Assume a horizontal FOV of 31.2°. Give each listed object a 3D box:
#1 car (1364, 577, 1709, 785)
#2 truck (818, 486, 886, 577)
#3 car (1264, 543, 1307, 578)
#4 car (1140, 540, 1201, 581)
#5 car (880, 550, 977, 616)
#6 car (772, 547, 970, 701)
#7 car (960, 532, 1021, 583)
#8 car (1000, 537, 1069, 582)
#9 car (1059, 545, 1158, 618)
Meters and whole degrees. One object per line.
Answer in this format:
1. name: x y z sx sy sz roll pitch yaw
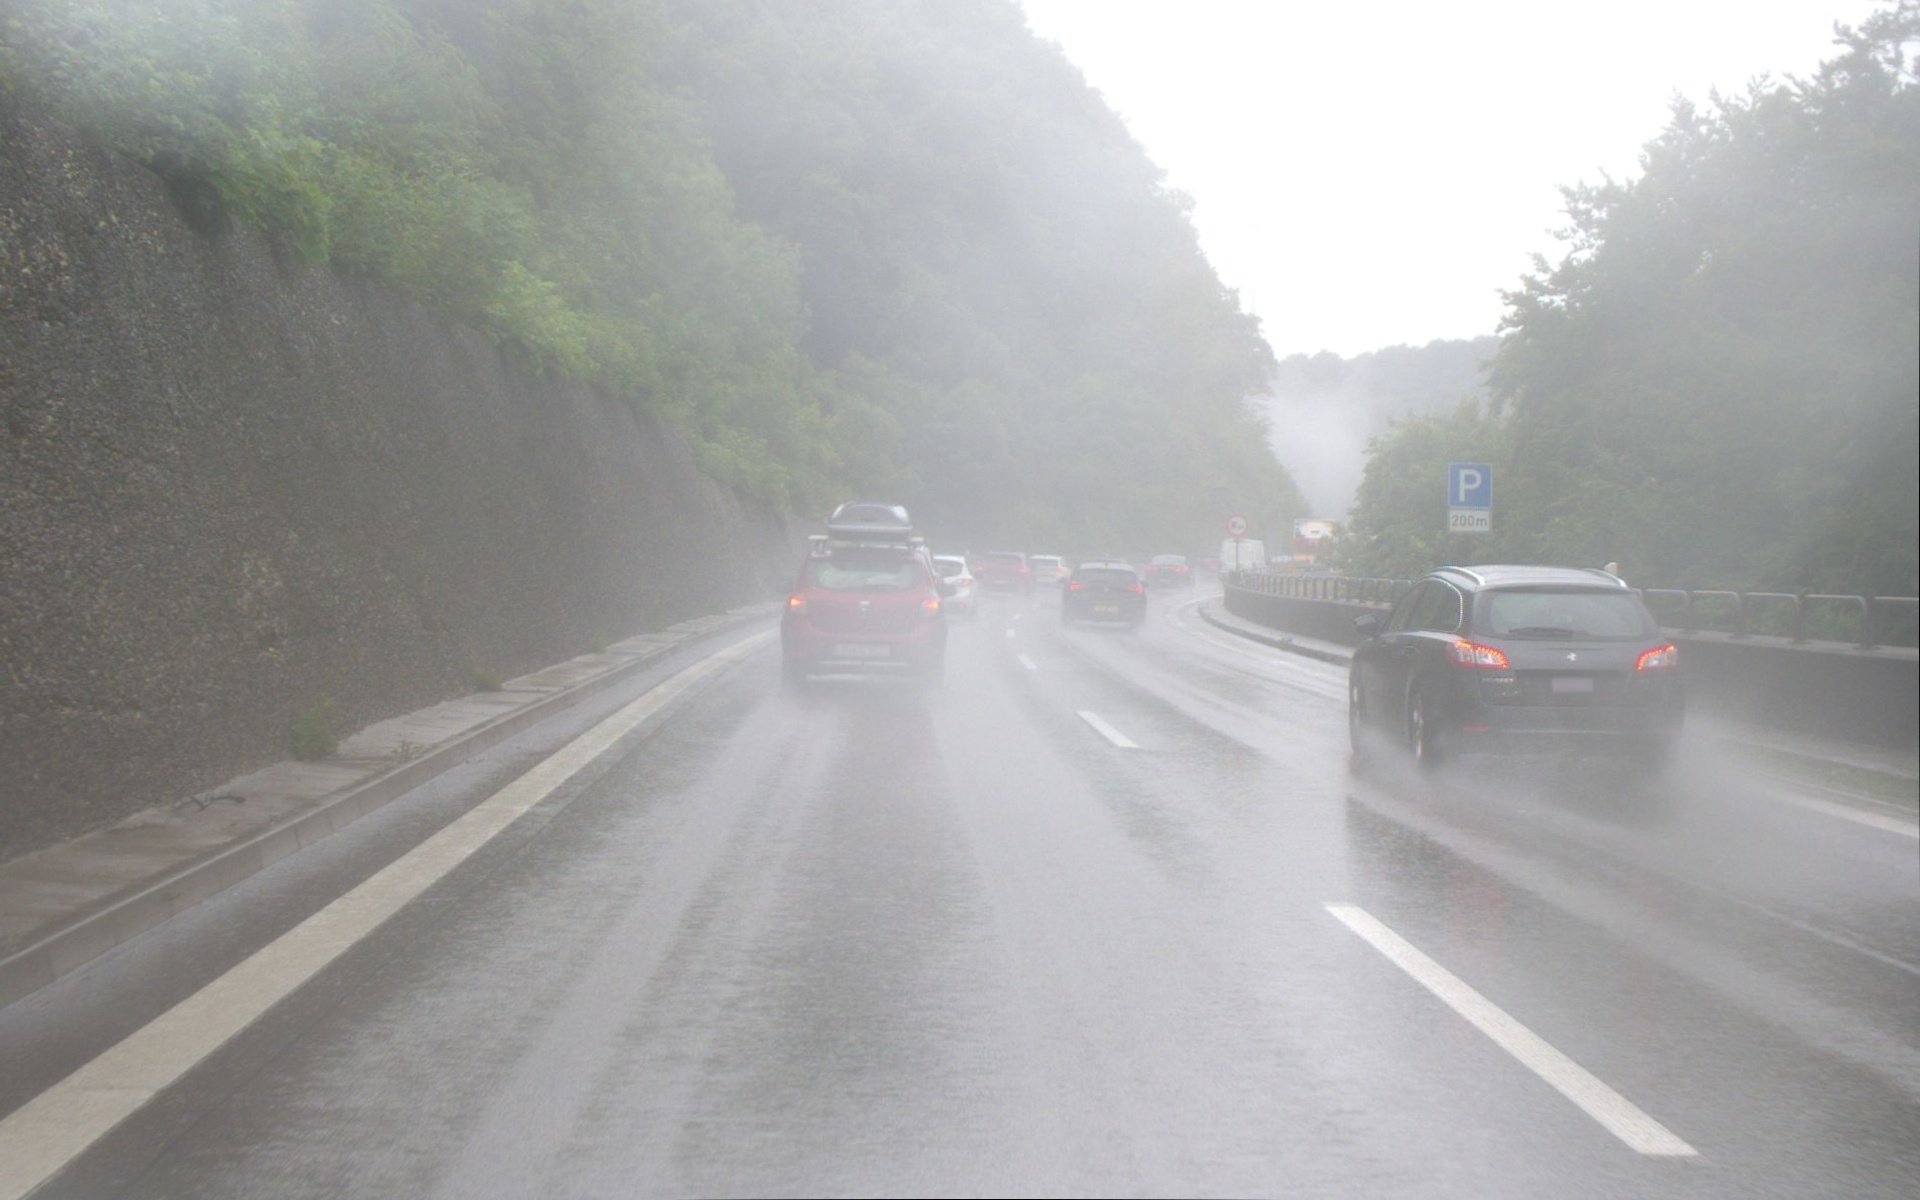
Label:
1. car: 3.987 0.516 24.384 1.800 1.303 4.000 1 1 1
2. truck: -3.314 -2.113 106.566 1.993 2.741 5.587 1 1 -1
3. car: 19.273 -2.345 203.526 2.449 2.007 4.735 1 1 6
4. car: 9.220 -1.711 150.153 1.826 1.713 3.997 -1 0 16
5. car: -0.697 -0.380 73.582 1.993 1.349 4.000 1 1 -1
6. car: -0.984 0.236 37.093 1.993 1.547 4.000 -1 0 -2
7. car: 1.074 -1.455 117.856 1.867 1.678 4.000 1 1 4
8. car: 2.957 -1.574 136.221 1.868 1.689 3.997 -1 0 14
9. car: 3.225 -0.419 75.279 1.993 1.546 4.000 0 1 0
